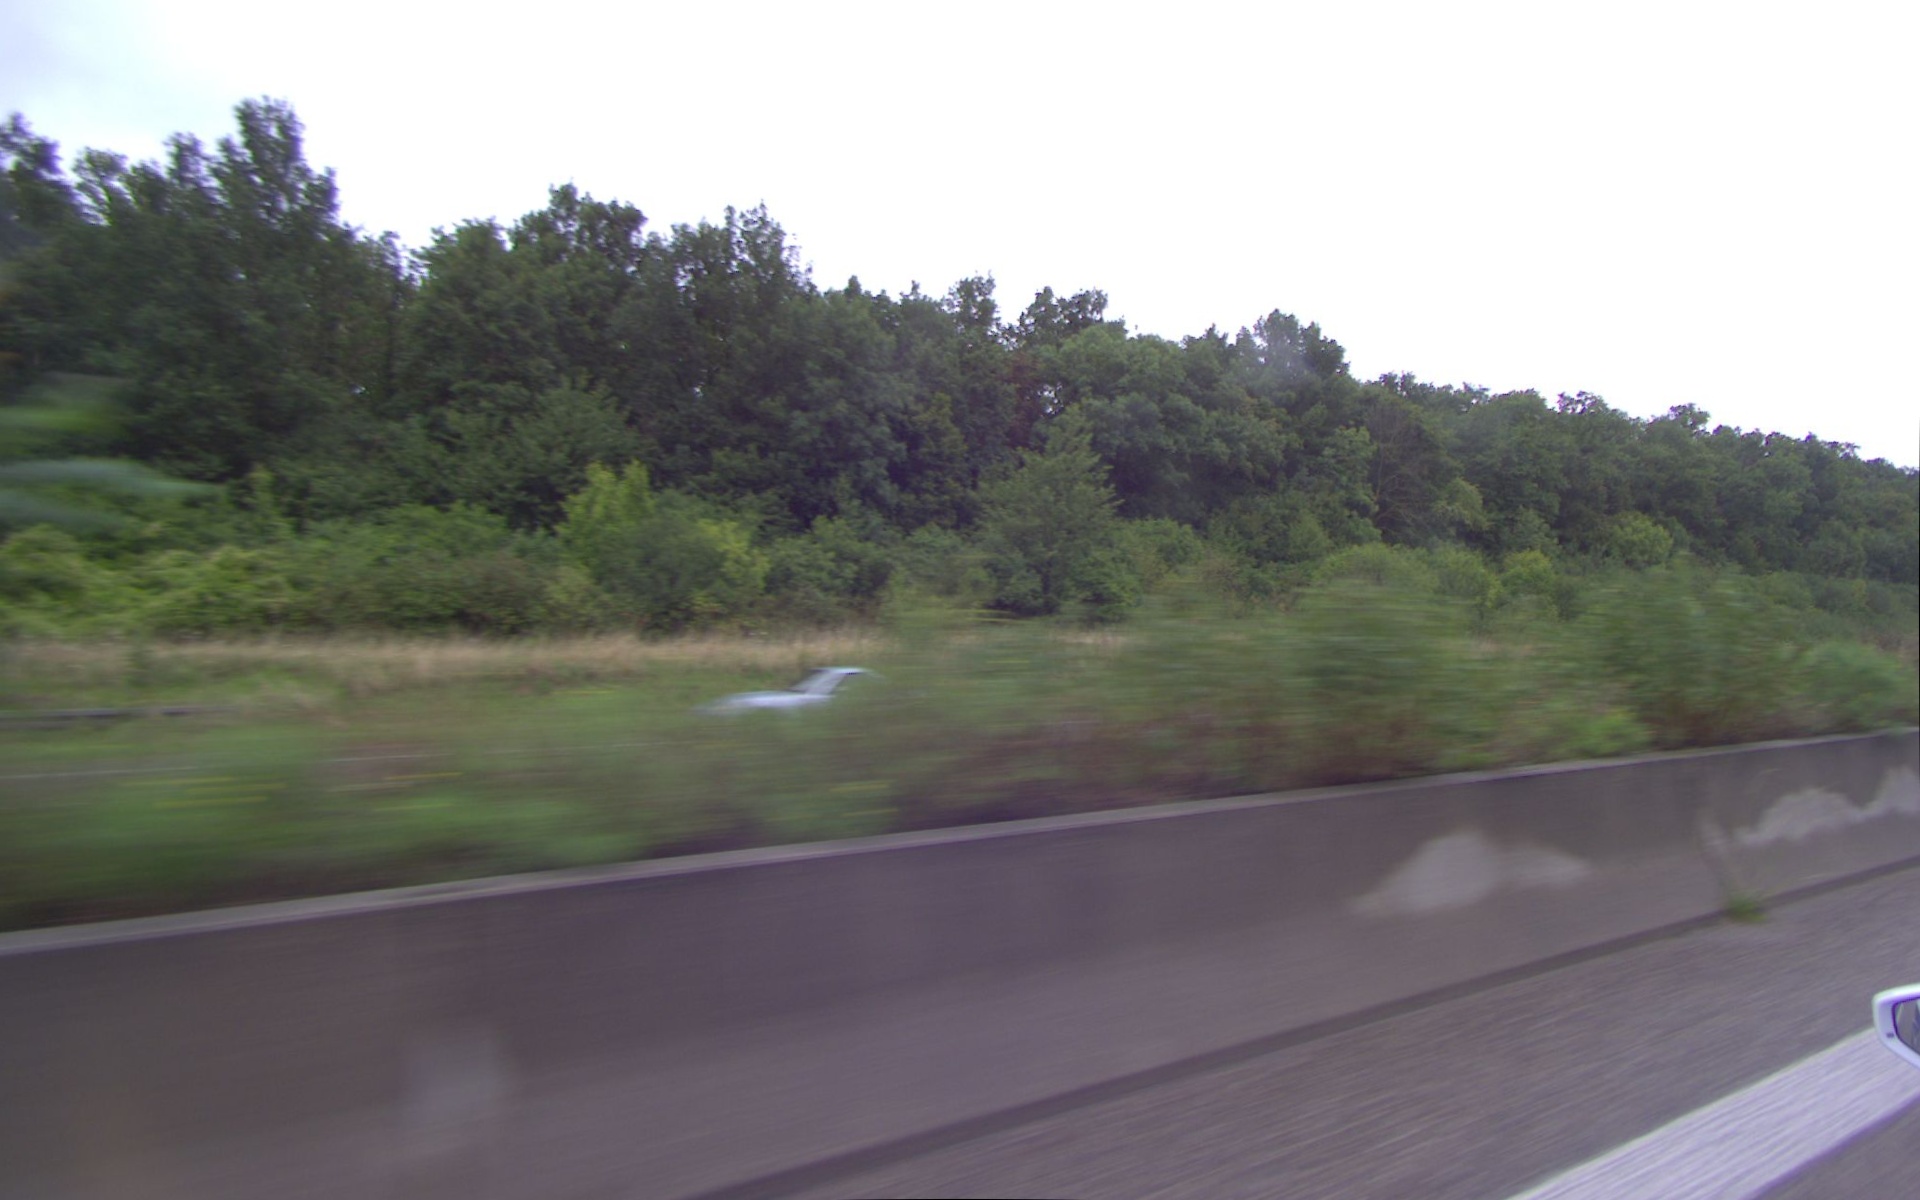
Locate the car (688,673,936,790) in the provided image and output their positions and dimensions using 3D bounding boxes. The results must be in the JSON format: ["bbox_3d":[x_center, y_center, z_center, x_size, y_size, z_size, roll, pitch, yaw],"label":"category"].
[{"bbox_3d":[-2.263,1.940,15.490,3.435,1.505,1.652,1,-2,-30],"label":"car"}]
